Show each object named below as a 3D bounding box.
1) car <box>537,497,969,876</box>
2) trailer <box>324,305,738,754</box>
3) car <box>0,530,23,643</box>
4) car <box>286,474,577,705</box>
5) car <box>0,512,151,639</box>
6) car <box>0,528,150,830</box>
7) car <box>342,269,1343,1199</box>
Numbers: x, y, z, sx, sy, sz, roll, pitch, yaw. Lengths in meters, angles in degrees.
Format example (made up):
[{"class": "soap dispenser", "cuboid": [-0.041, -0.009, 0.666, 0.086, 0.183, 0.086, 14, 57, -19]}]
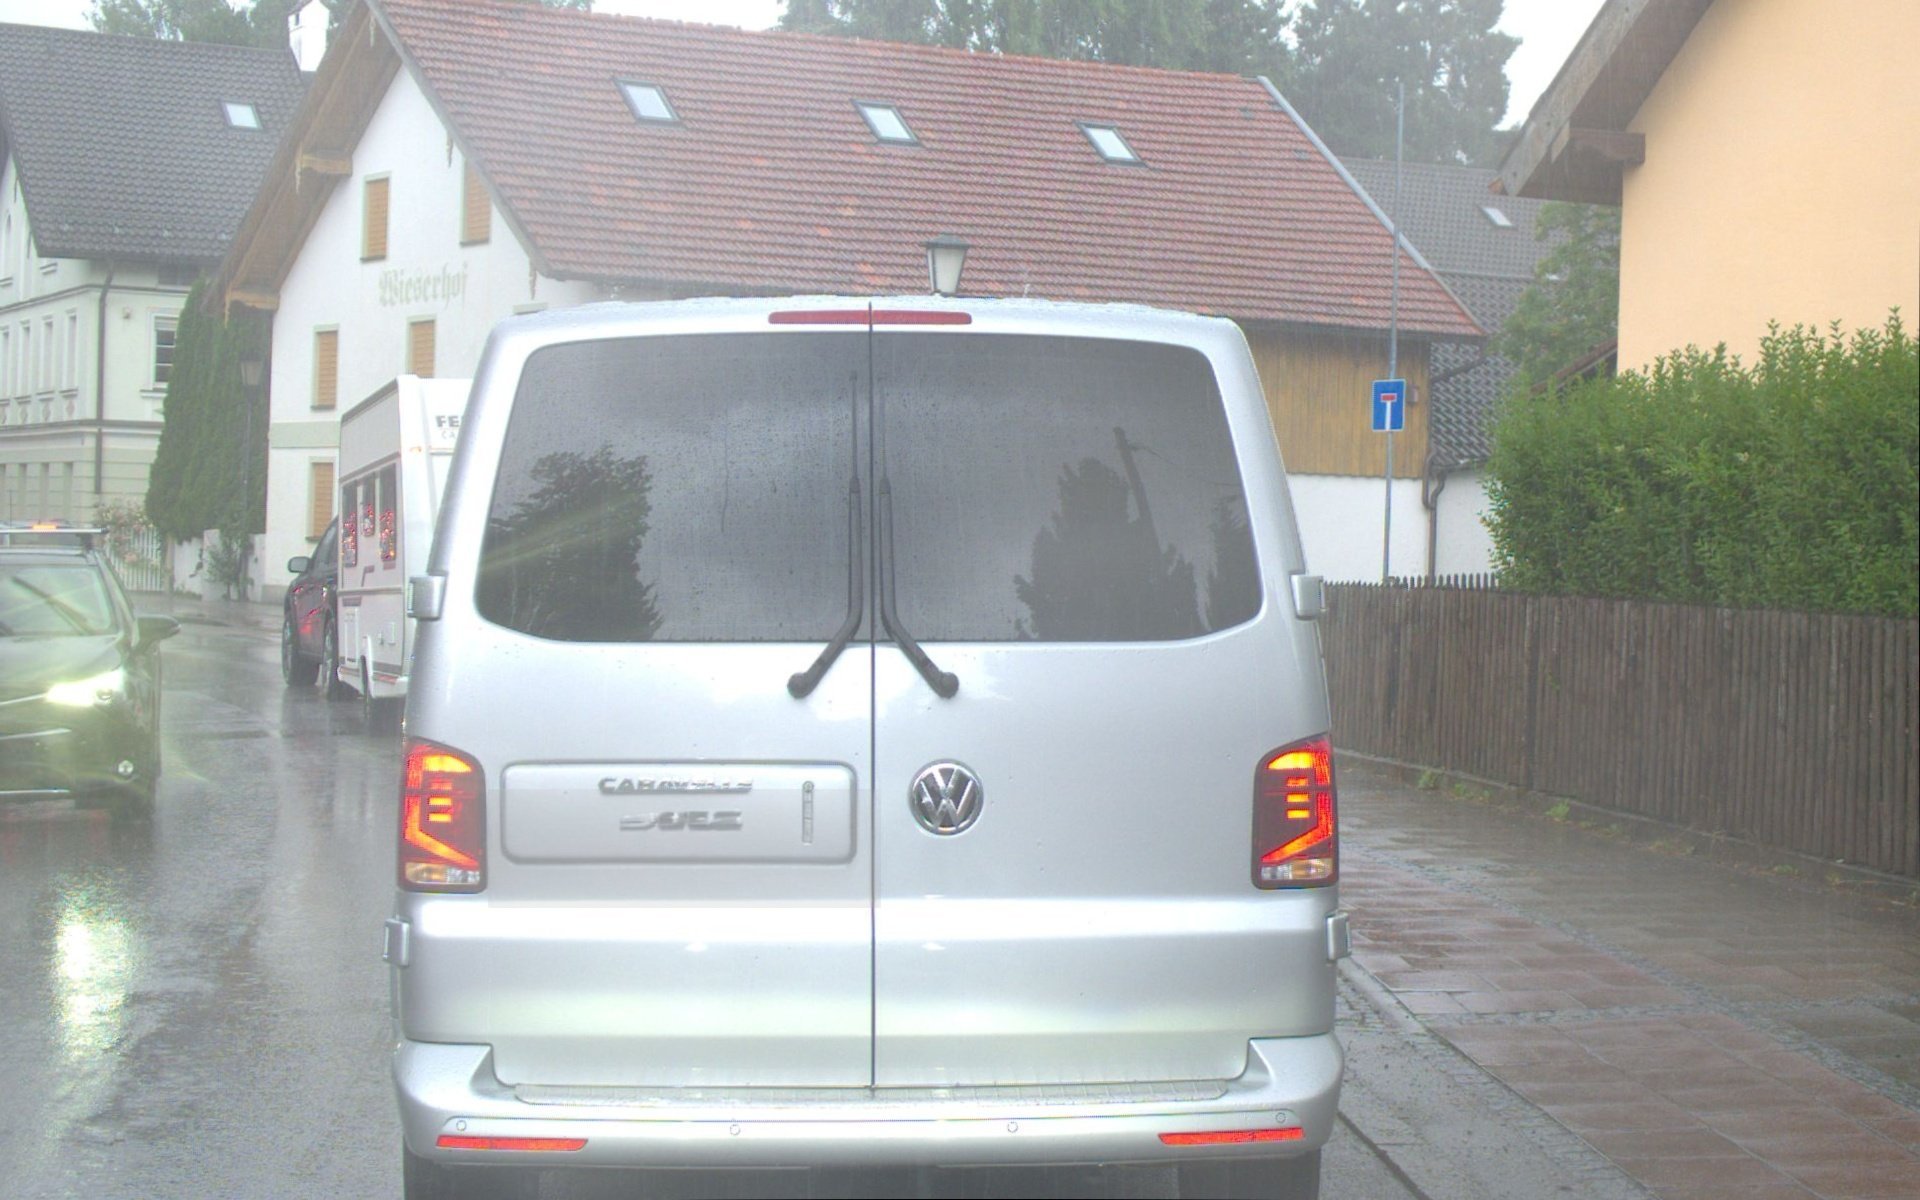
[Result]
[{"class": "car", "cuboid": [-1.173, 0.299, 17.223, 1.708, 1.578, 4.687, -1, 2, -9]}, {"class": "trailer", "cuboid": [-3.341, -0.509, 25.439, 2.270, 2.894, 6.134, 0, 1, -14]}, {"class": "car", "cuboid": [-18.138, -0.345, 60.490, 2.168, 1.892, 5.015, 2, 1, -27]}, {"class": "car", "cuboid": [-4.846, -0.129, 30.902, 2.053, 1.892, 5.177, 0, 1, -15]}, {"class": "car", "cuboid": [-14.657, -0.413, 55.021, 2.168, 1.893, 5.015, 2, 0, -27]}, {"class": "car", "cuboid": [-5.421, 0.358, 19.248, 1.638, 1.515, 4.189, 0, 1, -14]}, {"class": "car", "cuboid": [-0.223, 0.349, 8.654, 1.776, 1.956, 5.074, 0, 1, 0]}]
